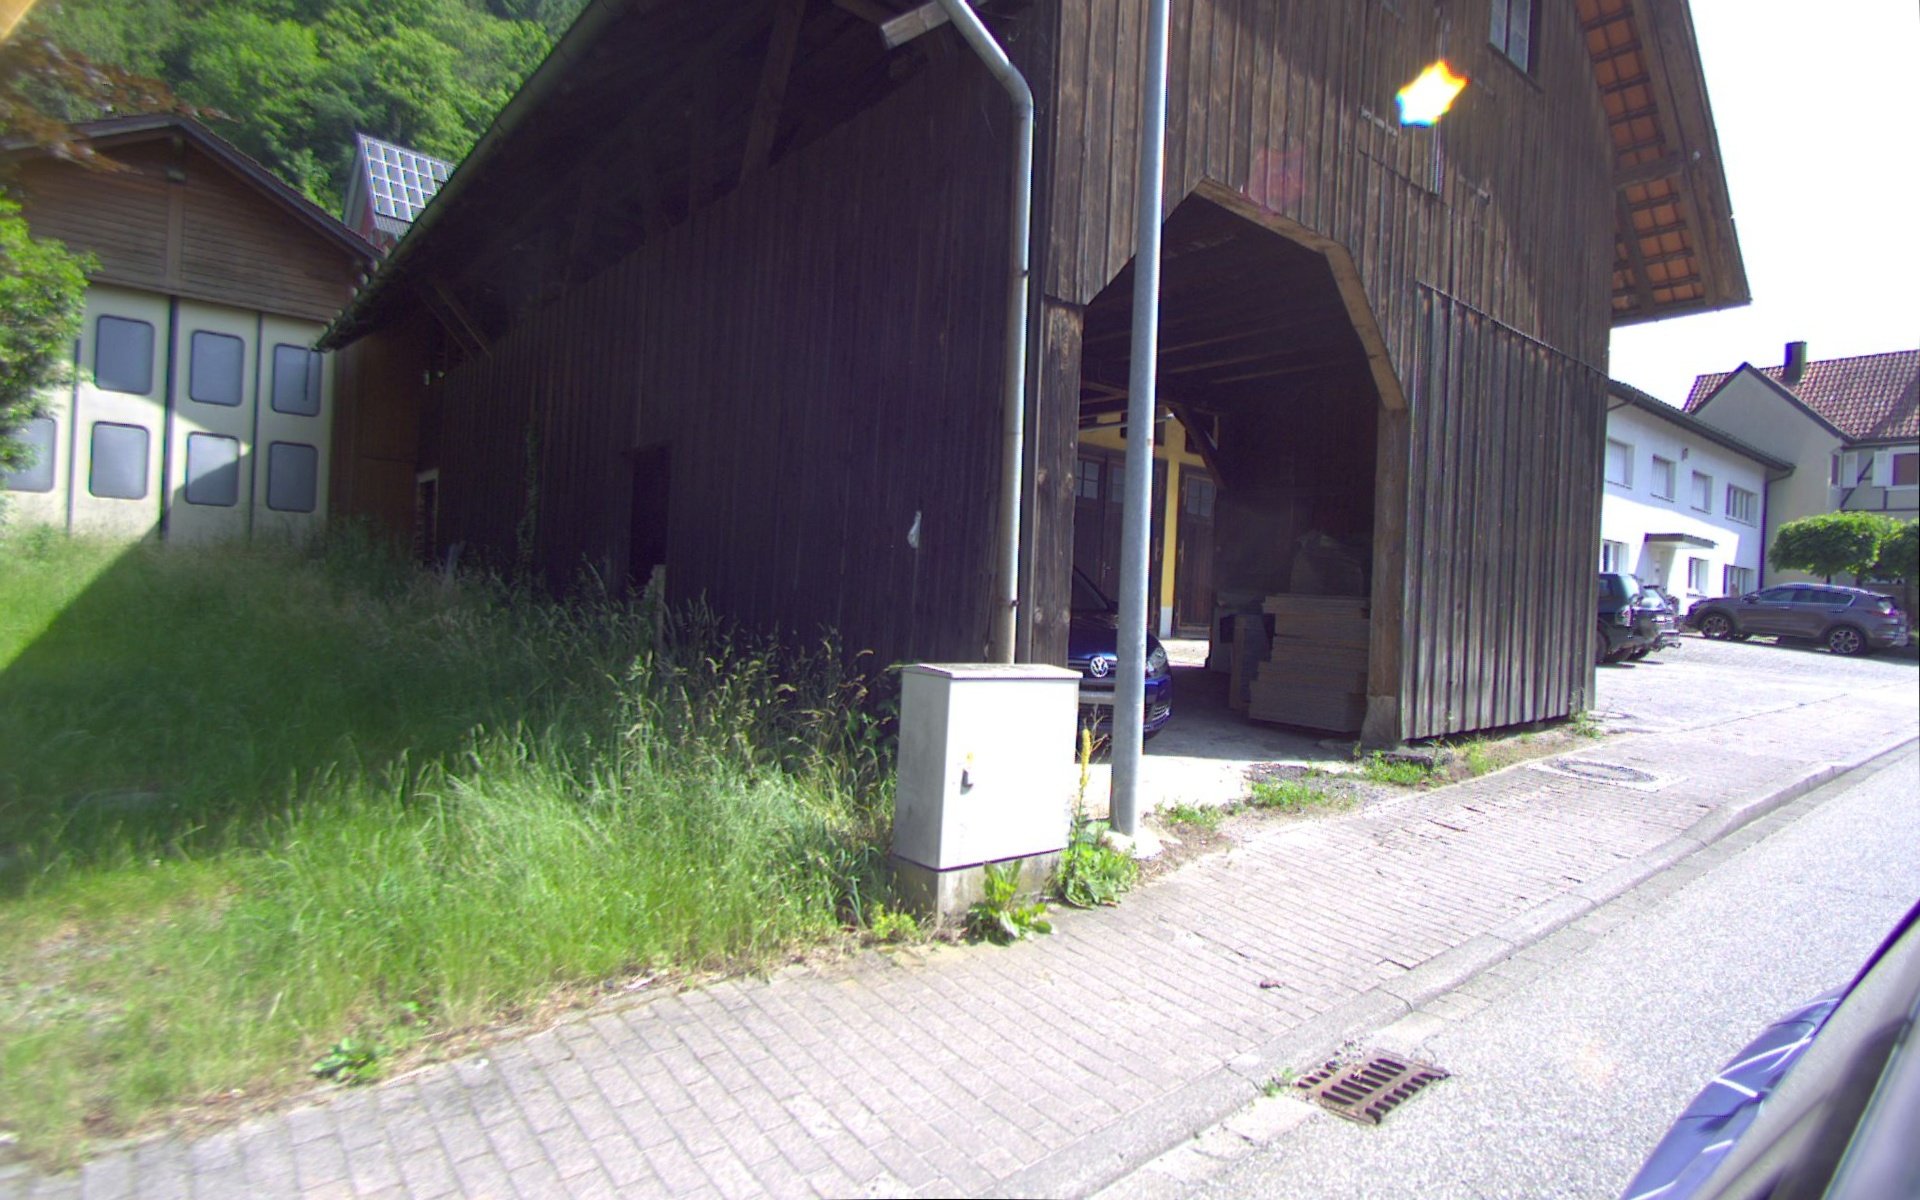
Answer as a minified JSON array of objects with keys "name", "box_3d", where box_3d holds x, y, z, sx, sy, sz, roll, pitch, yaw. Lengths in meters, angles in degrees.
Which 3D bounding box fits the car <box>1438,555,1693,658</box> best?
[{"name":"car","box_3d":[12.540,0.051,21.141,1.920,1.855,4.135,1,3,-41]}]

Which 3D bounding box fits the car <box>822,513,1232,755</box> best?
[{"name":"car","box_3d":[0.256,0.160,8.574,1.831,1.526,4.010,3,2,-22]}]

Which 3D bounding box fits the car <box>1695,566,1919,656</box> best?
[{"name":"car","box_3d":[21.500,0.213,25.608,1.742,1.706,4.241,1,6,-34]}]

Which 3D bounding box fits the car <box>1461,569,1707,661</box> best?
[{"name":"car","box_3d":[14.348,0.268,23.496,1.917,1.781,4.431,1,3,-39]}]
